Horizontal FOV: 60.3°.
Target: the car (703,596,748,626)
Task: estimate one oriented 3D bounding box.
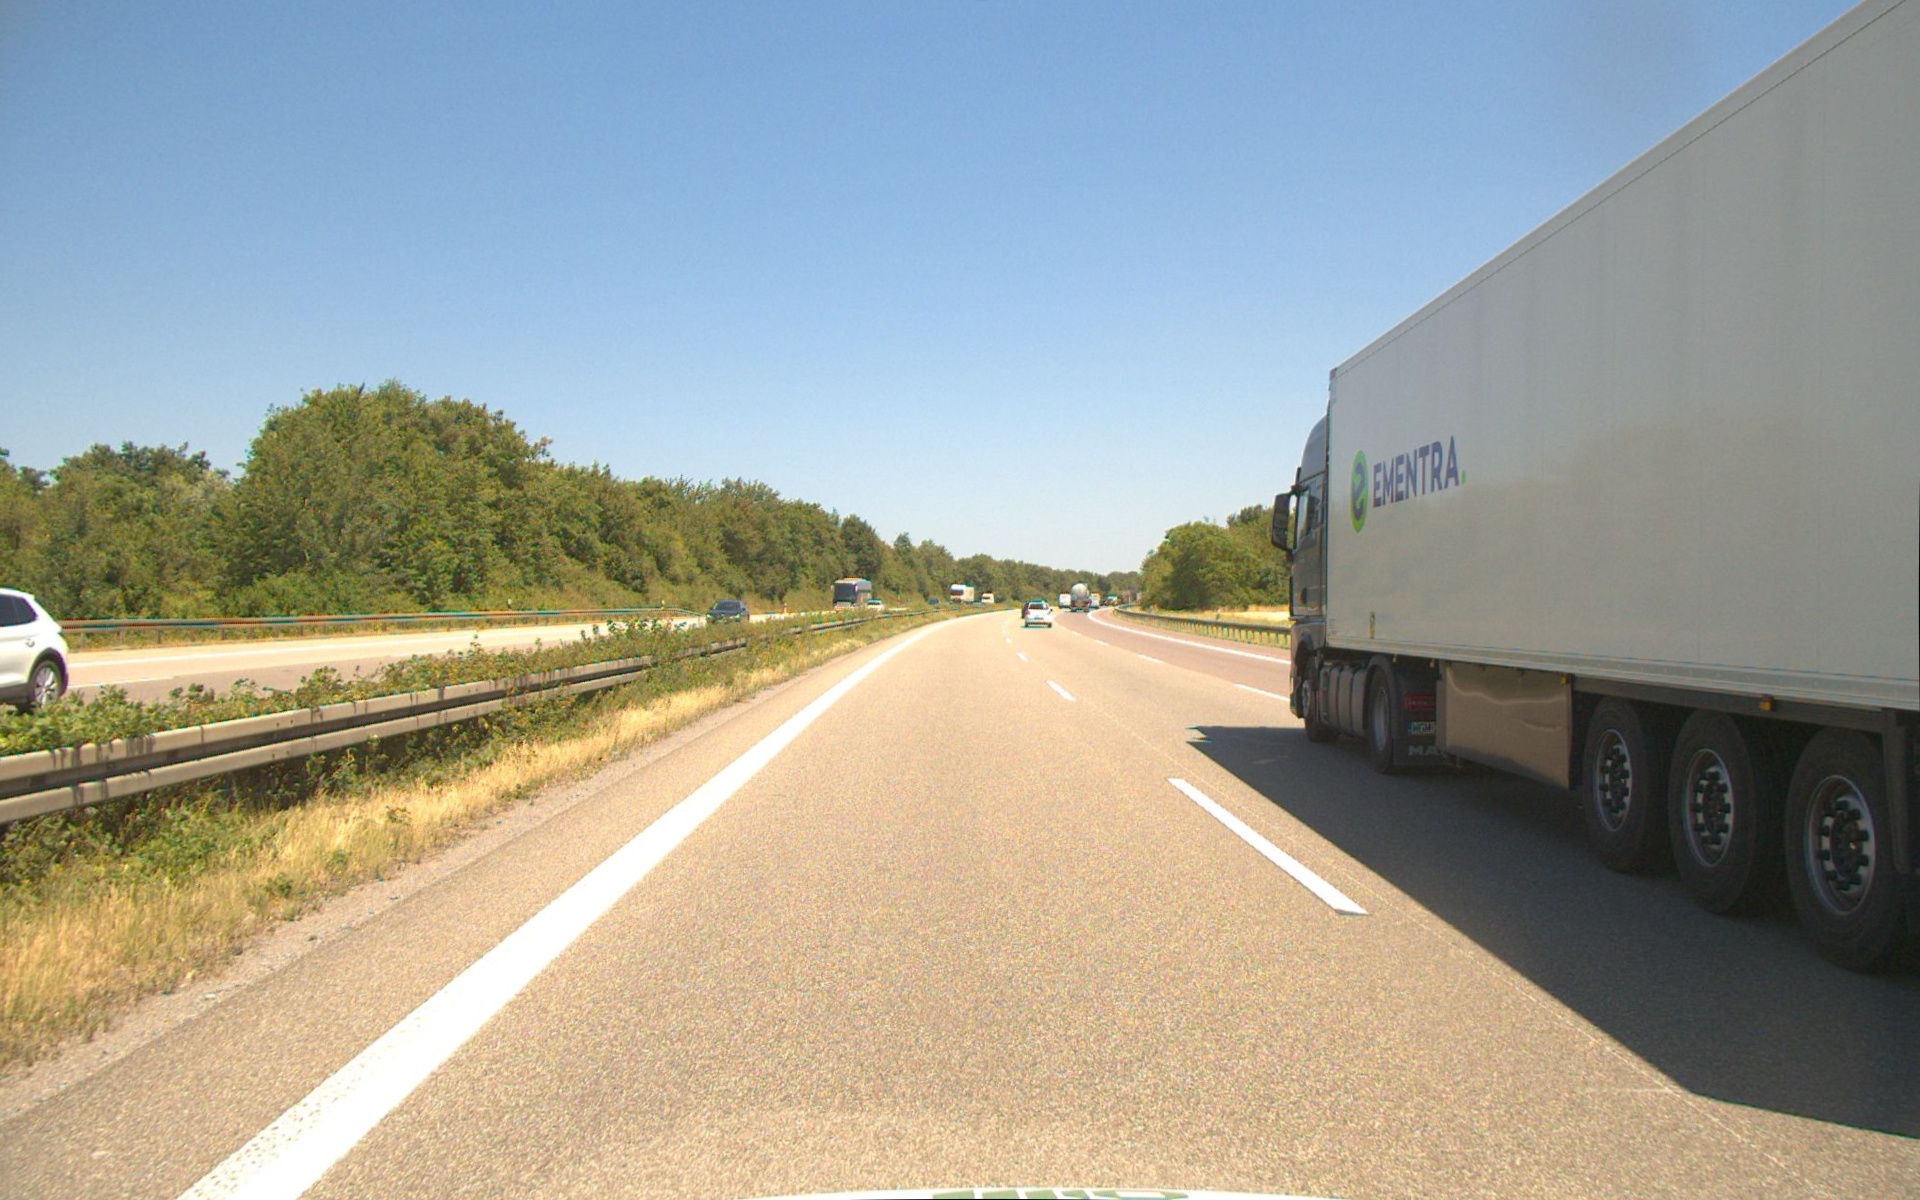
[{"bbox_3d":[-12.528,0.580,88.648,1.745,1.544,4.501,1,0,0],"label":"car"}]

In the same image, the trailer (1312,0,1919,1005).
[{"bbox_3d":[5.155,-0.823,11.049,2.841,4.739,13.988,1,0,1],"label":"trailer"}]

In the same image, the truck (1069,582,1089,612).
[{"bbox_3d":[17.030,-0.364,236.879,2.681,4.123,10.459,0,0,4],"label":"truck"}]

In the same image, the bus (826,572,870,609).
[{"bbox_3d":[-12.066,-0.987,179.335,2.683,3.772,13.007,1,0,5],"label":"bus"}]

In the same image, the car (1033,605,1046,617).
[{"bbox_3d":[9.908,1.407,206.527,1.594,1.505,4.000,0,0,1],"label":"car"}]

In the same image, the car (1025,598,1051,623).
[{"bbox_3d":[4.836,0.655,103.087,1.593,1.505,4.001,0,0,2],"label":"car"}]

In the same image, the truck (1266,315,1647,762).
[{"bbox_3d":[5.314,-0.603,18.654,2.848,4.330,4.976,1,0,1],"label":"truck"}]

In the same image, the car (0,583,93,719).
[{"bbox_3d":[-12.298,0.607,19.571,1.805,1.614,4.486,0,0,-2],"label":"car"}]
